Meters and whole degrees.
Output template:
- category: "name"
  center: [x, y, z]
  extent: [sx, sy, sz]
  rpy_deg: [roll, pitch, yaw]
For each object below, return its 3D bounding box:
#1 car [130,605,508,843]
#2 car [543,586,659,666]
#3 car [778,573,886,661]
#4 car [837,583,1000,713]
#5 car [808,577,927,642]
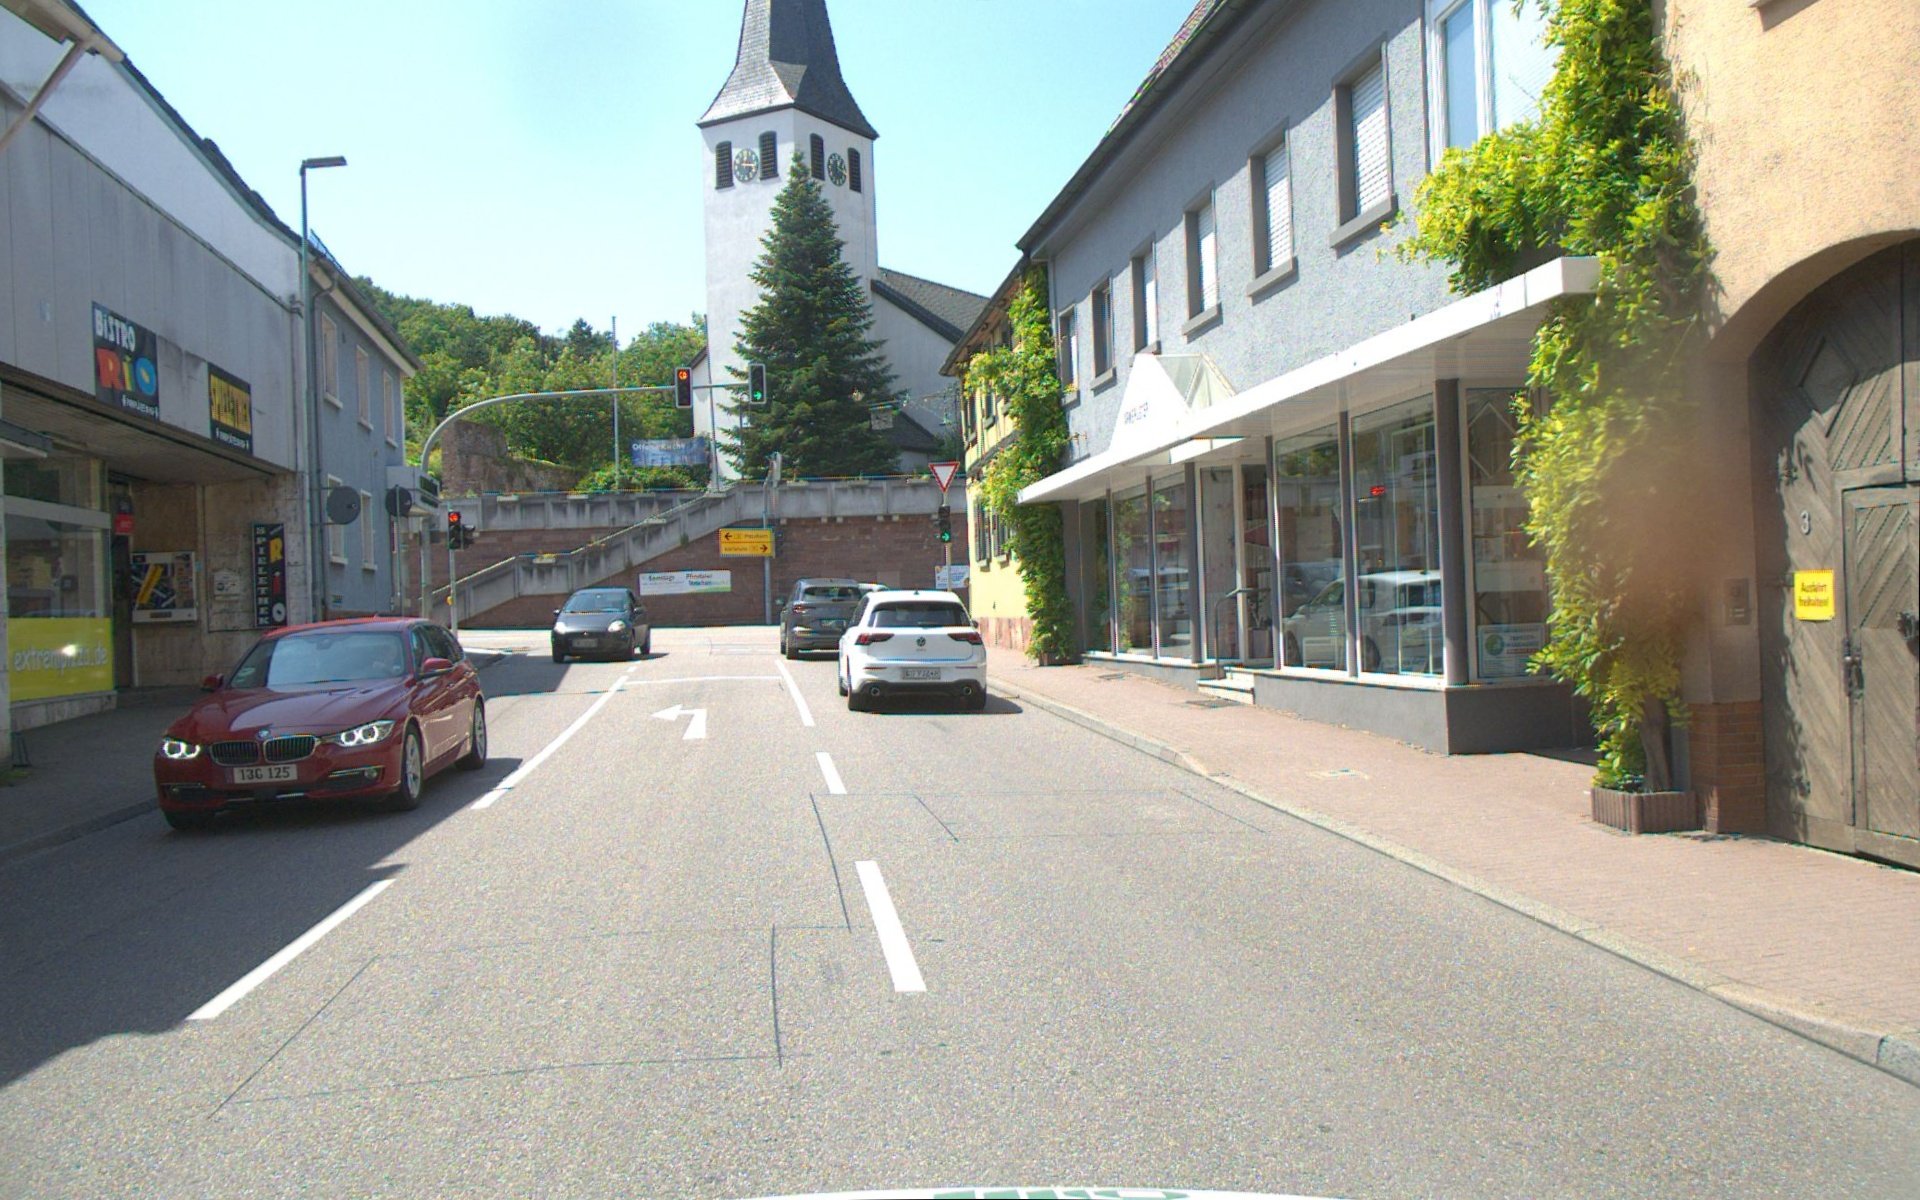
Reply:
- category: "car"
  center: [-5.053, 0.868, 13.697]
  extent: [1.684, 1.433, 4.280]
  rpy_deg: [-4, 1, -5]
- category: "car"
  center: [-7.616, 0.515, 35.402]
  extent: [1.683, 1.447, 3.819]
  rpy_deg: [-3, 2, -2]
- category: "car"
  center: [-2.762, 0.302, 34.867]
  extent: [1.913, 1.610, 4.317]
  rpy_deg: [-2, 2, -9]
- category: "car"
  center: [-0.628, 0.570, 21.703]
  extent: [1.749, 1.483, 3.857]
  rpy_deg: [-2, 0, -7]
- category: "car"
  center: [-2.372, 0.222, 43.407]
  extent: [1.734, 1.522, 3.990]
  rpy_deg: [-1, 2, 19]
